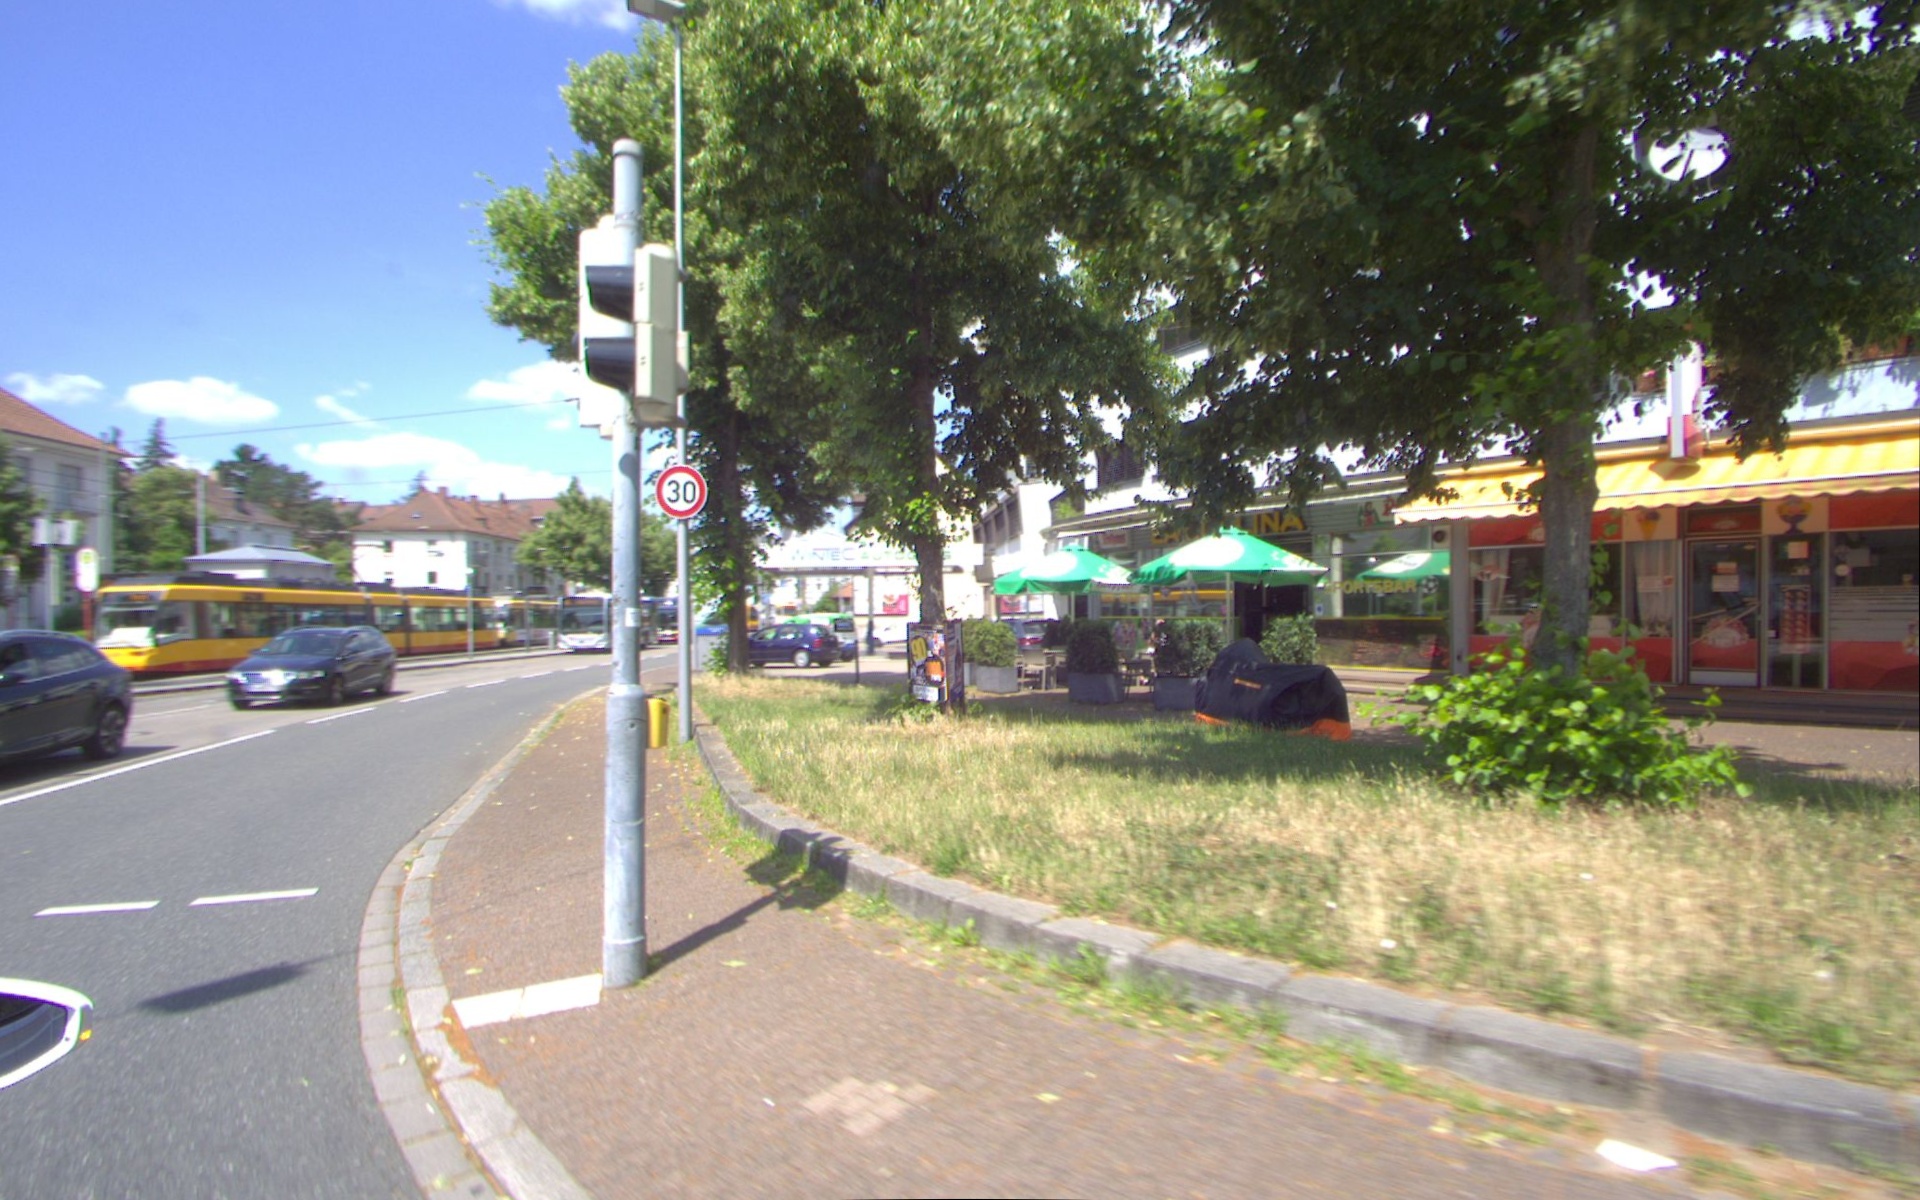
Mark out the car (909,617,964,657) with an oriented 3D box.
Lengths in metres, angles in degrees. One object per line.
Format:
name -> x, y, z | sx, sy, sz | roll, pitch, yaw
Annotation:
car -> -1.064, 1.540, 42.599 | 1.975, 1.616, 4.289 | 0, -1, -6

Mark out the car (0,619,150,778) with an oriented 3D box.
car -> -10.320, 0.955, 9.976 | 1.965, 1.519, 4.418 | 0, -1, -17

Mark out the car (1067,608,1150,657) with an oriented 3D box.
car -> 5.136, 1.127, 35.171 | 1.961, 1.605, 4.382 | 0, -1, -4

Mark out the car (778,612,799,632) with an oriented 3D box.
car -> -17.547, 2.248, 102.672 | 1.779, 2.007, 4.000 | 0, -1, -5

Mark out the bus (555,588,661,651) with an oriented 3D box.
bus -> -19.504, 1.091, 56.355 | 2.686, 3.169, 12.008 | 0, -1, -5

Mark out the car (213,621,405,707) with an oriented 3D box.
car -> -13.057, 1.200, 20.432 | 1.964, 1.539, 4.506 | 0, -1, -15

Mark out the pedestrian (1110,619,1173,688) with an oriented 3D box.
pedestrian -> 3.624, 1.054, 20.075 | 0.803, 1.322, 1.012 | 0, -1, -28

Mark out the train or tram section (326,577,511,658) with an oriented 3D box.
train or tram section -> -27.503, 0.947, 52.140 | 2.740, 3.614, 14.705 | 0, -1, -5

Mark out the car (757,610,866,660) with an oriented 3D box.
car -> -5.704, 1.327, 38.317 | 3.974, 1.817, 1.830 | -2, -1, 37

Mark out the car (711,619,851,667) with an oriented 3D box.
car -> -5.842, 1.402, 32.776 | 4.098, 1.458, 1.899 | -1, -1, 18

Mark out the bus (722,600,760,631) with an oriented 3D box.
bus -> -24.243, 1.713, 111.356 | 2.686, 3.260, 11.049 | 0, -1, -5

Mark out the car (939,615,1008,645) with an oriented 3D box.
car -> 0.873, 1.969, 65.786 | 4.236, 1.834, 1.998 | 1, 1, -9

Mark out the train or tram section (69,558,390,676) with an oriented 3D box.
train or tram section -> -26.393, 0.659, 37.761 | 2.764, 3.614, 14.181 | 0, -1, -5

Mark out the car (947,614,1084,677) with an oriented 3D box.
car -> 1.290, 1.129, 25.383 | 1.680, 1.447, 4.350 | 0, -2, -24

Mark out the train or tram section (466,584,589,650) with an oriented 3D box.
train or tram section -> -28.942, 1.185, 68.117 | 2.740, 3.945, 15.552 | 0, -1, -5

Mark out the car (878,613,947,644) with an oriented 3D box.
car -> -2.948, 1.796, 63.263 | 4.234, 1.834, 1.999 | 1, 1, 0

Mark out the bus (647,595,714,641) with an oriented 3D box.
bus -> -20.942, 1.379, 75.685 | 2.686, 3.169, 12.008 | 0, -1, -5
